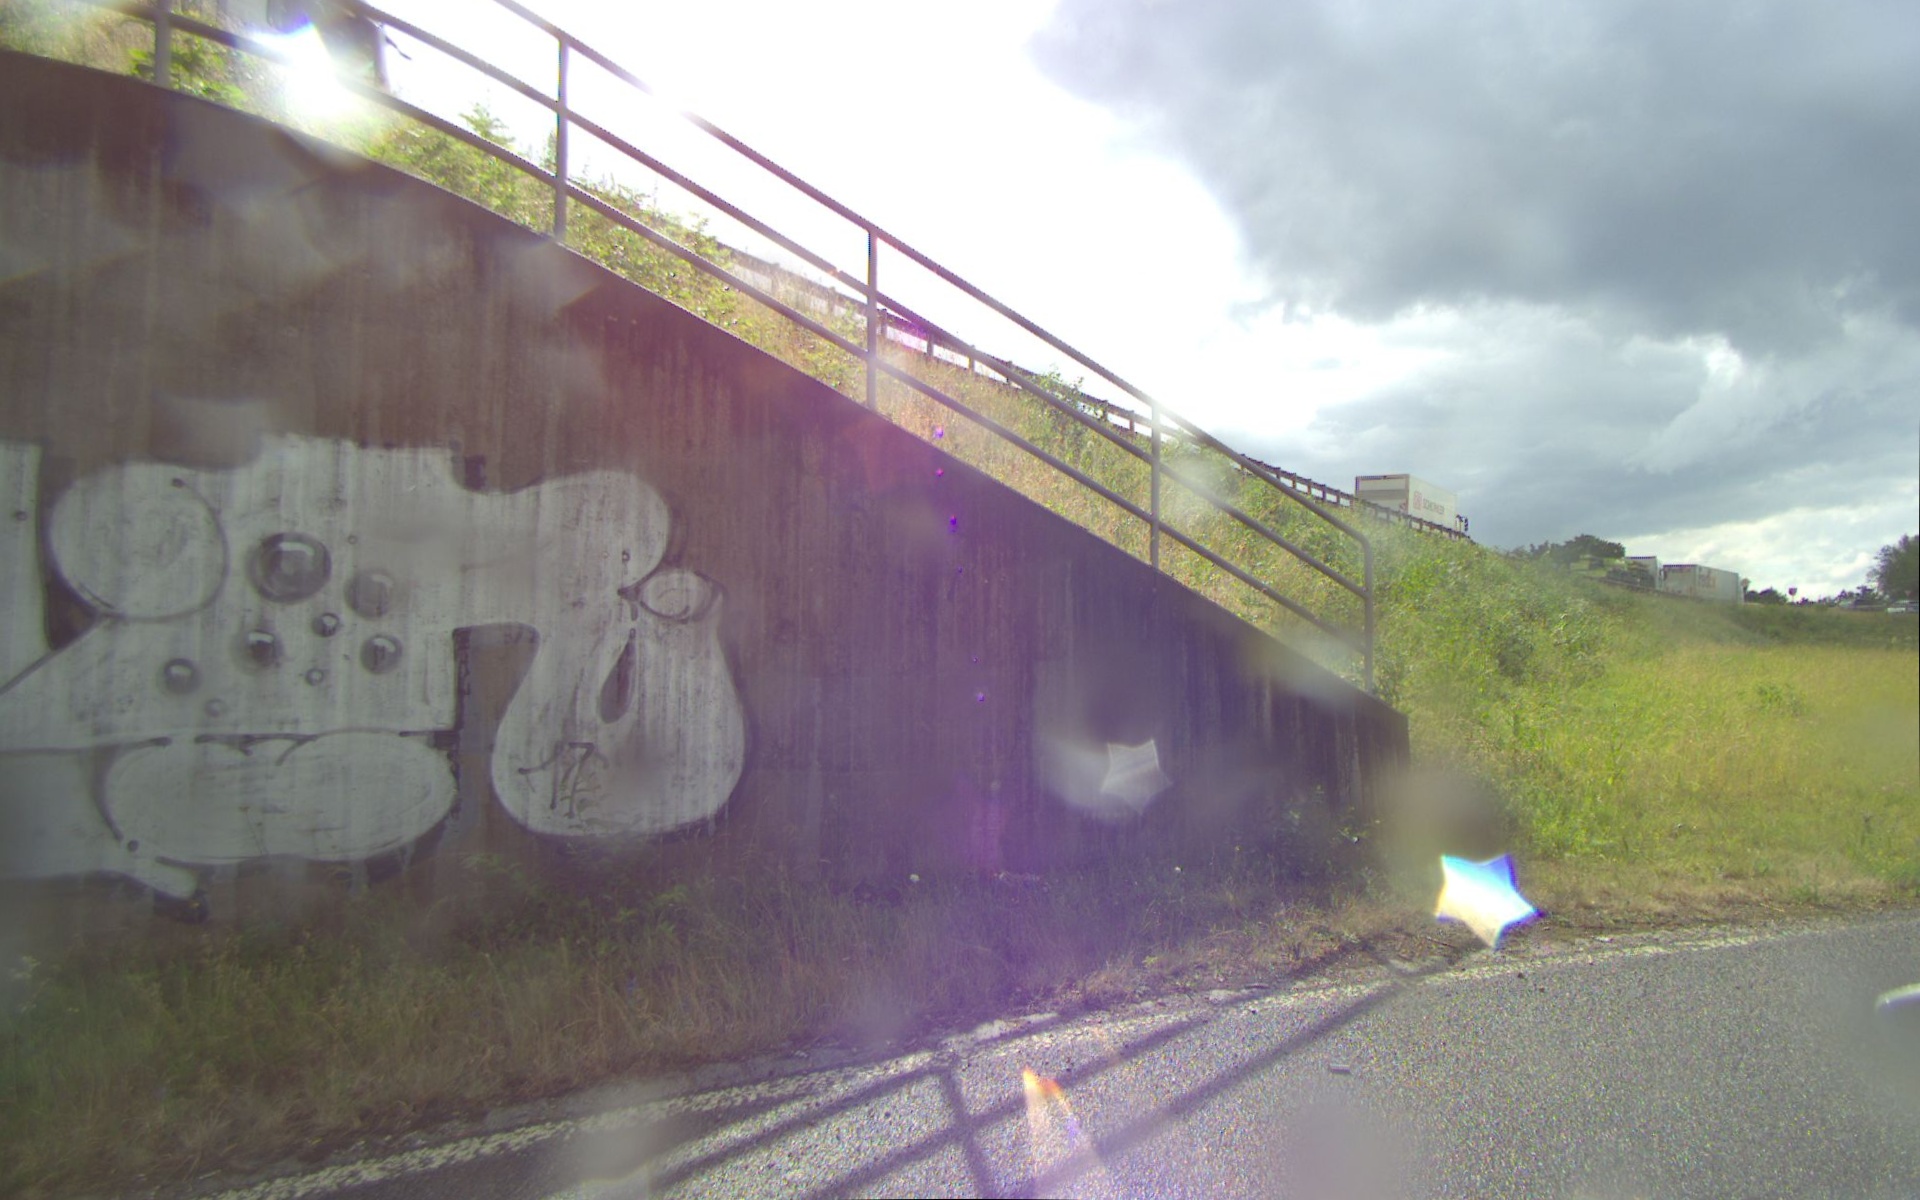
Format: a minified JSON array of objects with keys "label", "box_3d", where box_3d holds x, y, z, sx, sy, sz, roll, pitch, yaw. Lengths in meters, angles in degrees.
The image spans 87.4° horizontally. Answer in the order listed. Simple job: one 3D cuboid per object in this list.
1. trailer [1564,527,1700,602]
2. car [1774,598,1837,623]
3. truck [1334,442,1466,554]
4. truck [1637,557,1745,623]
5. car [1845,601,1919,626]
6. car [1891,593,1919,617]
[{"label":"trailer","box_3d":[53.443,-2.485,79.309,20.078,4.007,4.372,5,-4,-43]},{"label":"car","box_3d":[71.160,0.879,84.555,3.943,2.040,1.817,0,-4,43]},{"label":"truck","box_3d":[21.882,-4.780,49.605,3.145,4.017,9.189,0,-4,42]},{"label":"truck","box_3d":[67.604,-0.718,92.525,19.243,4.561,4.419,5,-4,-43]},{"label":"car","box_3d":[74.357,1.109,80.285,1.970,1.885,5.034,1,-3,-21]},{"label":"car","box_3d":[80.532,0.413,83.313,1.961,1.885,5.059,1,-3,0]}]
